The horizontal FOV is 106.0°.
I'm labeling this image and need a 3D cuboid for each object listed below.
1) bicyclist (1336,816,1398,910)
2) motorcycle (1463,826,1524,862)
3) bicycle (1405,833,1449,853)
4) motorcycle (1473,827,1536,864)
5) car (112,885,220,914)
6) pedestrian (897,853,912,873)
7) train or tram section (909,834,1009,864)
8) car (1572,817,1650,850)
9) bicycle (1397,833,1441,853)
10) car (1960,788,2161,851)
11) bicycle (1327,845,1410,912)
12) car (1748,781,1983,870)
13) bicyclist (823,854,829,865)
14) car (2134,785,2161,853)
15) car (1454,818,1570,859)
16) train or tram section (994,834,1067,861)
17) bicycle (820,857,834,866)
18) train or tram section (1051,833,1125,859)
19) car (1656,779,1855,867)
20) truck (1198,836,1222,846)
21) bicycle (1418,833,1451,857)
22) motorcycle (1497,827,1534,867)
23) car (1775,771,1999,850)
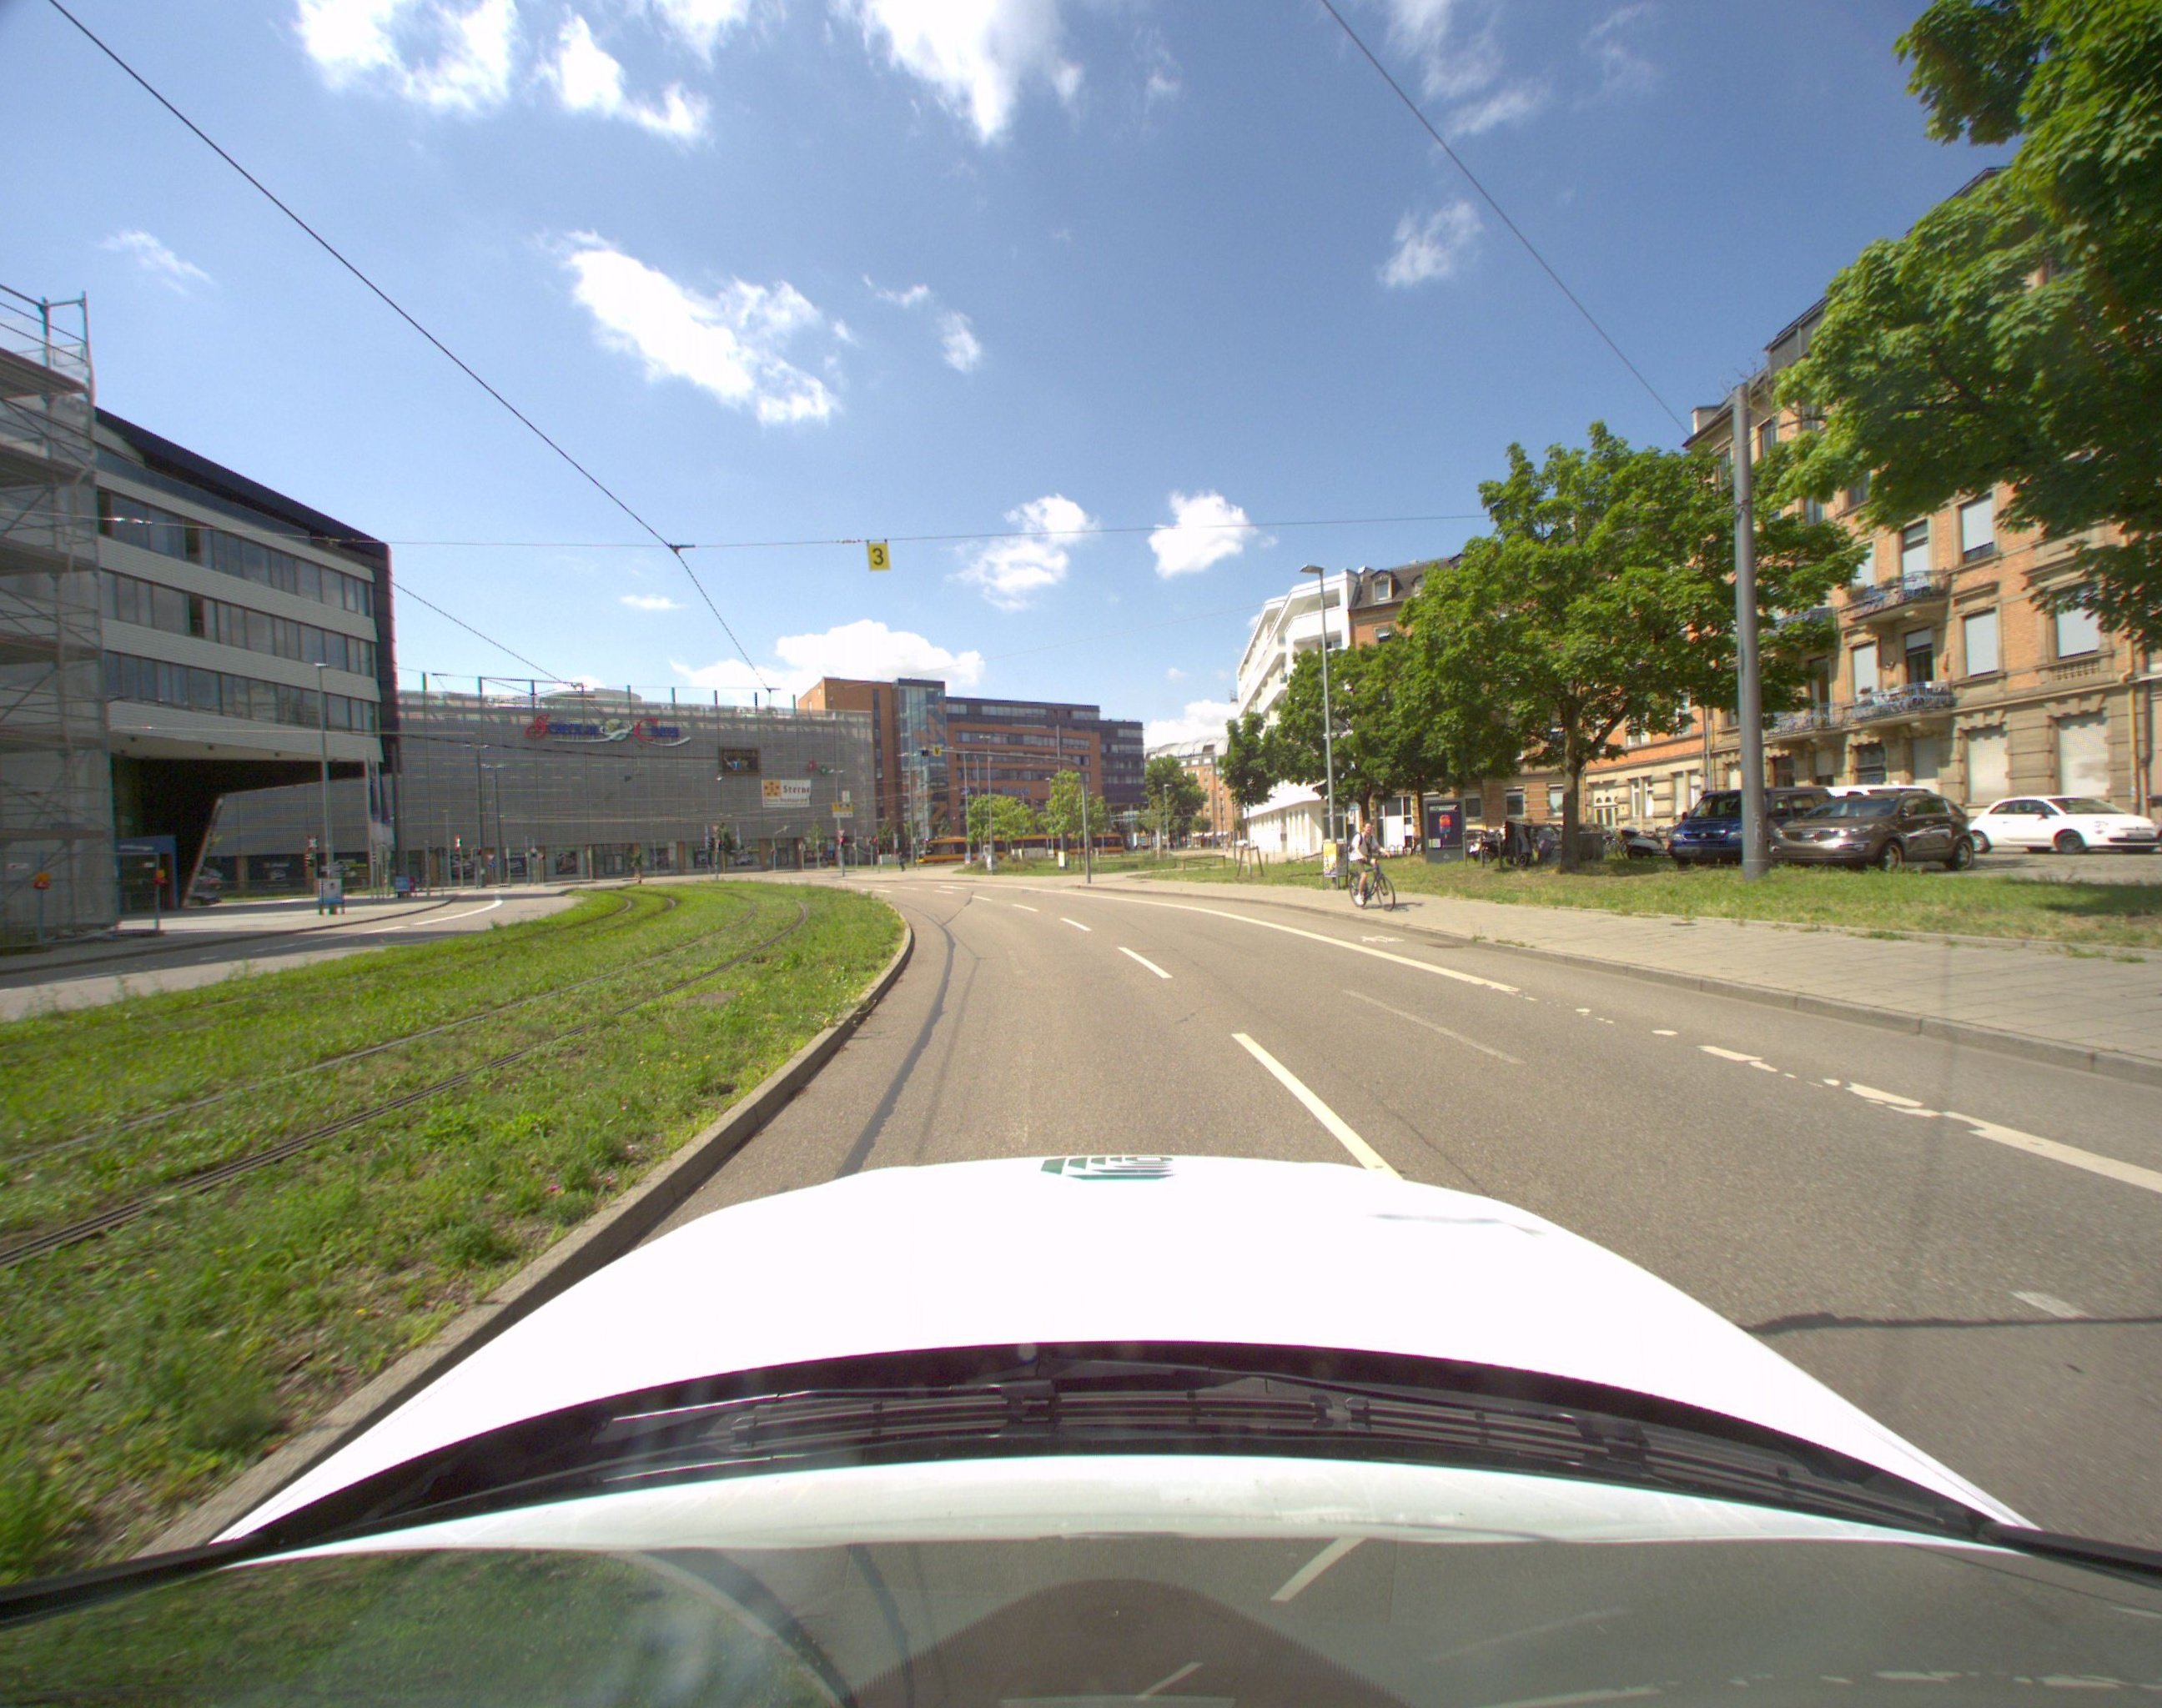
[{"bbox_3d":[5.885,0.170,16.802,0.694,1.824,0.953,-5,1,-11],"label":"bicyclist"},{"bbox_3d":[14.412,-0.338,28.485,1.775,1.167,0.640,-3,0,3],"label":"motorcycle"},{"bbox_3d":[18.045,-0.589,42.464,2.391,0.969,0.540,-2,0,-19],"label":"bicycle"},{"bbox_3d":[14.339,-0.297,27.605,1.775,1.167,0.640,-3,0,3],"label":"motorcycle"},{"bbox_3d":[-58.009,2.882,51.725,4.126,1.469,1.809,-3,1,-31],"label":"car"},{"bbox_3d":[-15.882,0.815,73.285,0.907,1.702,0.813,-3,1,30],"label":"pedestrian"},{"bbox_3d":[-15.805,-0.740,106.991,13.576,3.599,3.187,-2,0,-43],"label":"train or tram section"},{"bbox_3d":[26.192,-0.979,40.402,1.651,1.491,3.860,-2,0,6],"label":"car"},{"bbox_3d":[17.856,-0.586,43.019,2.391,0.969,0.540,-2,0,-19],"label":"bicycle"},{"bbox_3d":[24.756,-0.825,20.655,1.555,1.403,3.358,-3,0,8],"label":"car"},{"bbox_3d":[5.901,0.470,16.833,0.694,1.242,1.832,-5,1,-11],"label":"bicycle"},{"bbox_3d":[16.045,-0.575,16.667,4.177,1.656,1.903,-2,0,-22],"label":"car"},{"bbox_3d":[-36.711,0.801,117.371,0.666,1.623,0.545,-1,0,-31],"label":"bicyclist"},{"bbox_3d":[24.402,-0.771,16.387,1.651,1.491,3.860,-2,0,6],"label":"car"},{"bbox_3d":[16.936,-0.613,31.986,4.266,1.427,1.791,-3,1,-25],"label":"car"},{"bbox_3d":[-6.996,-0.968,115.438,11.057,3.603,3.027,-2,0,-45],"label":"train or tram section"},{"bbox_3d":[-36.655,1.018,117.408,1.772,1.224,0.578,-2,0,-31],"label":"bicycle"},{"bbox_3d":[1.209,-1.234,123.535,12.709,3.621,3.027,-2,0,-44],"label":"train or tram section"},{"bbox_3d":[16.232,-0.728,19.578,4.638,1.927,1.900,-2,0,-26],"label":"car"},{"bbox_3d":[28.603,-2.938,180.949,2.009,2.085,5.463,-2,0,-35],"label":"truck"},{"bbox_3d":[14.053,-0.359,32.408,0.540,0.901,1.822,-2,0,2],"label":"bicycle"},{"bbox_3d":[13.313,-0.222,24.987,0.633,1.167,1.915,-2,0,18],"label":"motorcycle"},{"bbox_3d":[25.161,-1.258,25.804,2.100,2.178,5.403,-2,0,6],"label":"car"}]
